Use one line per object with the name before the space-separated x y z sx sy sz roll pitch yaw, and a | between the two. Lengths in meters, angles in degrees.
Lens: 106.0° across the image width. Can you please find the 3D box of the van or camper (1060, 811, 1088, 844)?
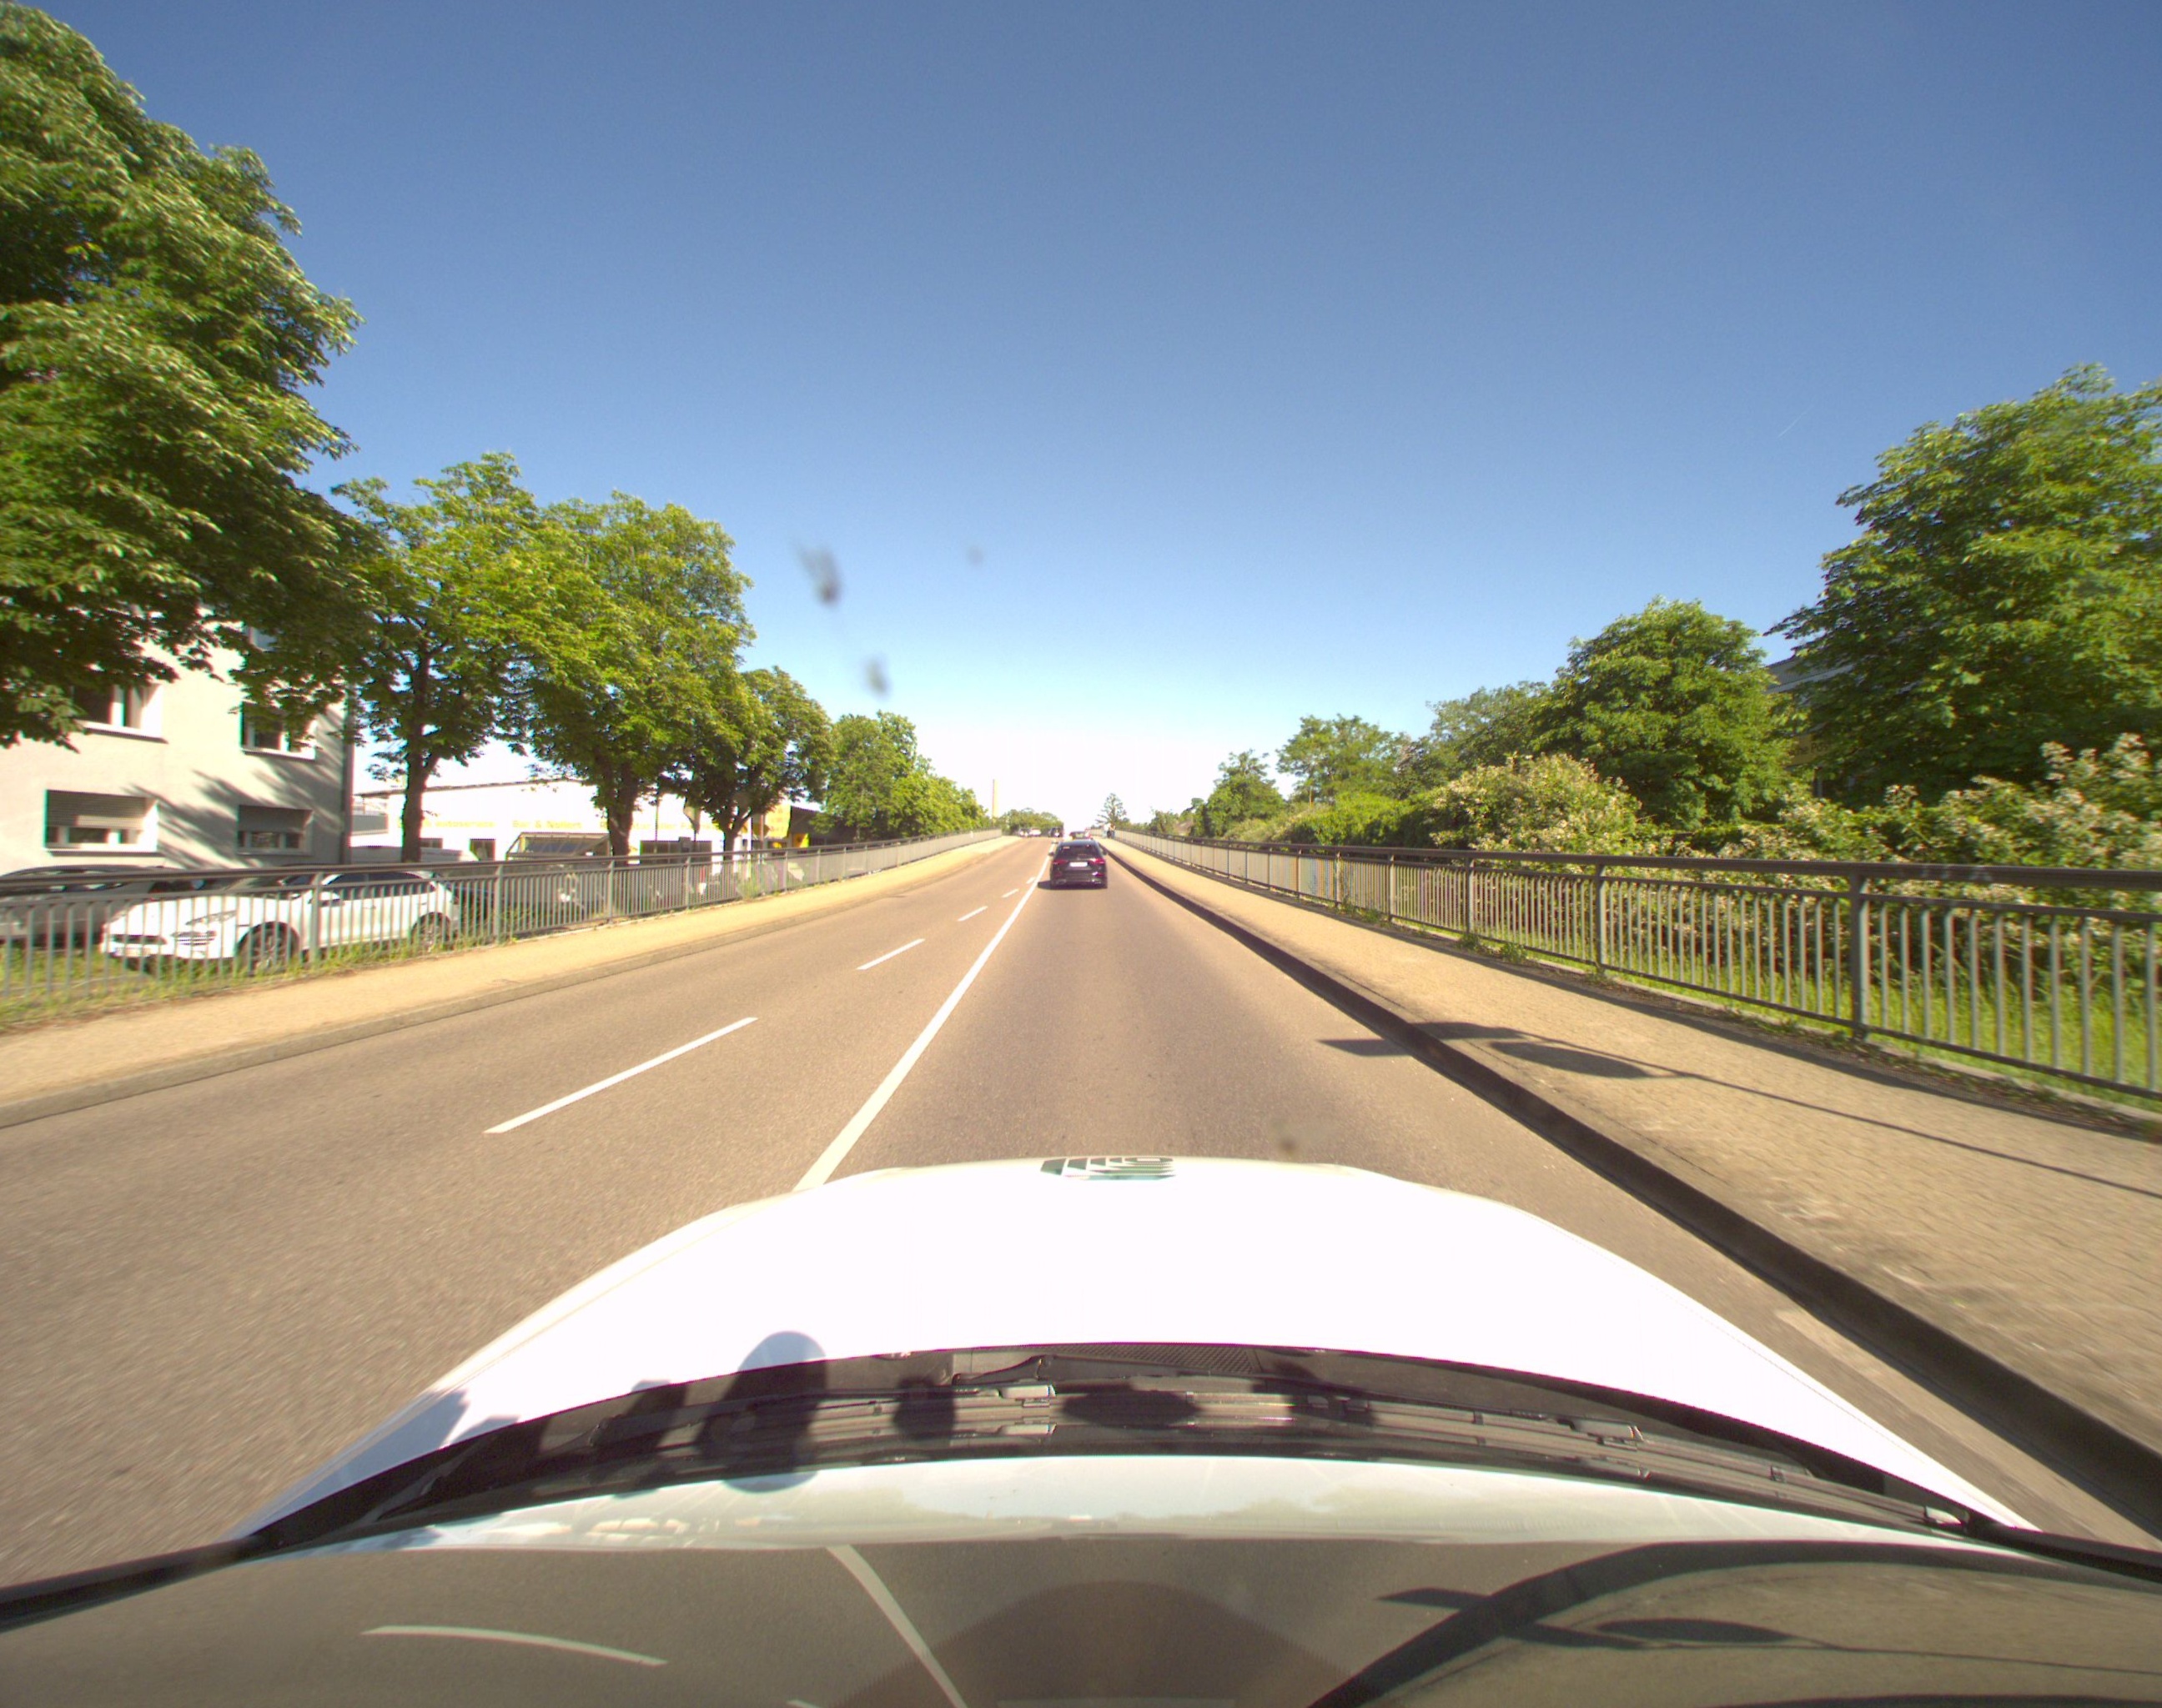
van or camper | -0.733 -2.364 75.090 2.221 2.739 7.071 0 0 -3

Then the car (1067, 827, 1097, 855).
car | 0.097 -0.786 52.481 1.798 1.640 4.001 0 -1 2

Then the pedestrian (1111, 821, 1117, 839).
pedestrian | 3.360 -2.435 82.948 0.470 1.750 0.653 0 0 -1

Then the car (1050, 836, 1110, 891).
car | -0.043 0.233 26.340 1.764 1.592 3.988 -1 1 -1

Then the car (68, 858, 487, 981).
car | -13.411 0.965 14.279 2.030 1.729 5.237 1 -1 1

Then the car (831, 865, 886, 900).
car | -13.677 1.689 50.312 1.915 1.991 4.262 0 0 4

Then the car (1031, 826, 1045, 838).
car | -6.985 -3.547 132.536 1.985 1.680 4.002 -1 -1 3

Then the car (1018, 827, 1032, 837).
car | -8.159 -3.205 118.221 1.765 1.474 3.987 -2 2 -2

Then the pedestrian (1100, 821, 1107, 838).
pedestrian | 2.297 -2.519 83.262 0.600 1.750 0.716 0 0 -1

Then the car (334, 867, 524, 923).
car | -19.364 1.200 24.369 3.995 1.584 1.894 0 0 -7

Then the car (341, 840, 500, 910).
car | -26.431 0.789 32.979 2.128 2.561 5.877 0 0 -6

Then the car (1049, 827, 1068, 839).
car | -3.154 -2.972 115.014 1.906 1.488 4.282 -1 -1 11

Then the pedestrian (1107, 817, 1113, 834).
pedestrian | 2.975 -2.899 83.879 0.548 1.750 0.738 0 0 -1

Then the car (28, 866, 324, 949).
car | -20.313 1.139 18.555 4.001 1.598 1.986 -1 0 -21

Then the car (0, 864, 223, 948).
car | -19.725 0.959 15.900 3.676 1.510 1.769 0 0 -26
